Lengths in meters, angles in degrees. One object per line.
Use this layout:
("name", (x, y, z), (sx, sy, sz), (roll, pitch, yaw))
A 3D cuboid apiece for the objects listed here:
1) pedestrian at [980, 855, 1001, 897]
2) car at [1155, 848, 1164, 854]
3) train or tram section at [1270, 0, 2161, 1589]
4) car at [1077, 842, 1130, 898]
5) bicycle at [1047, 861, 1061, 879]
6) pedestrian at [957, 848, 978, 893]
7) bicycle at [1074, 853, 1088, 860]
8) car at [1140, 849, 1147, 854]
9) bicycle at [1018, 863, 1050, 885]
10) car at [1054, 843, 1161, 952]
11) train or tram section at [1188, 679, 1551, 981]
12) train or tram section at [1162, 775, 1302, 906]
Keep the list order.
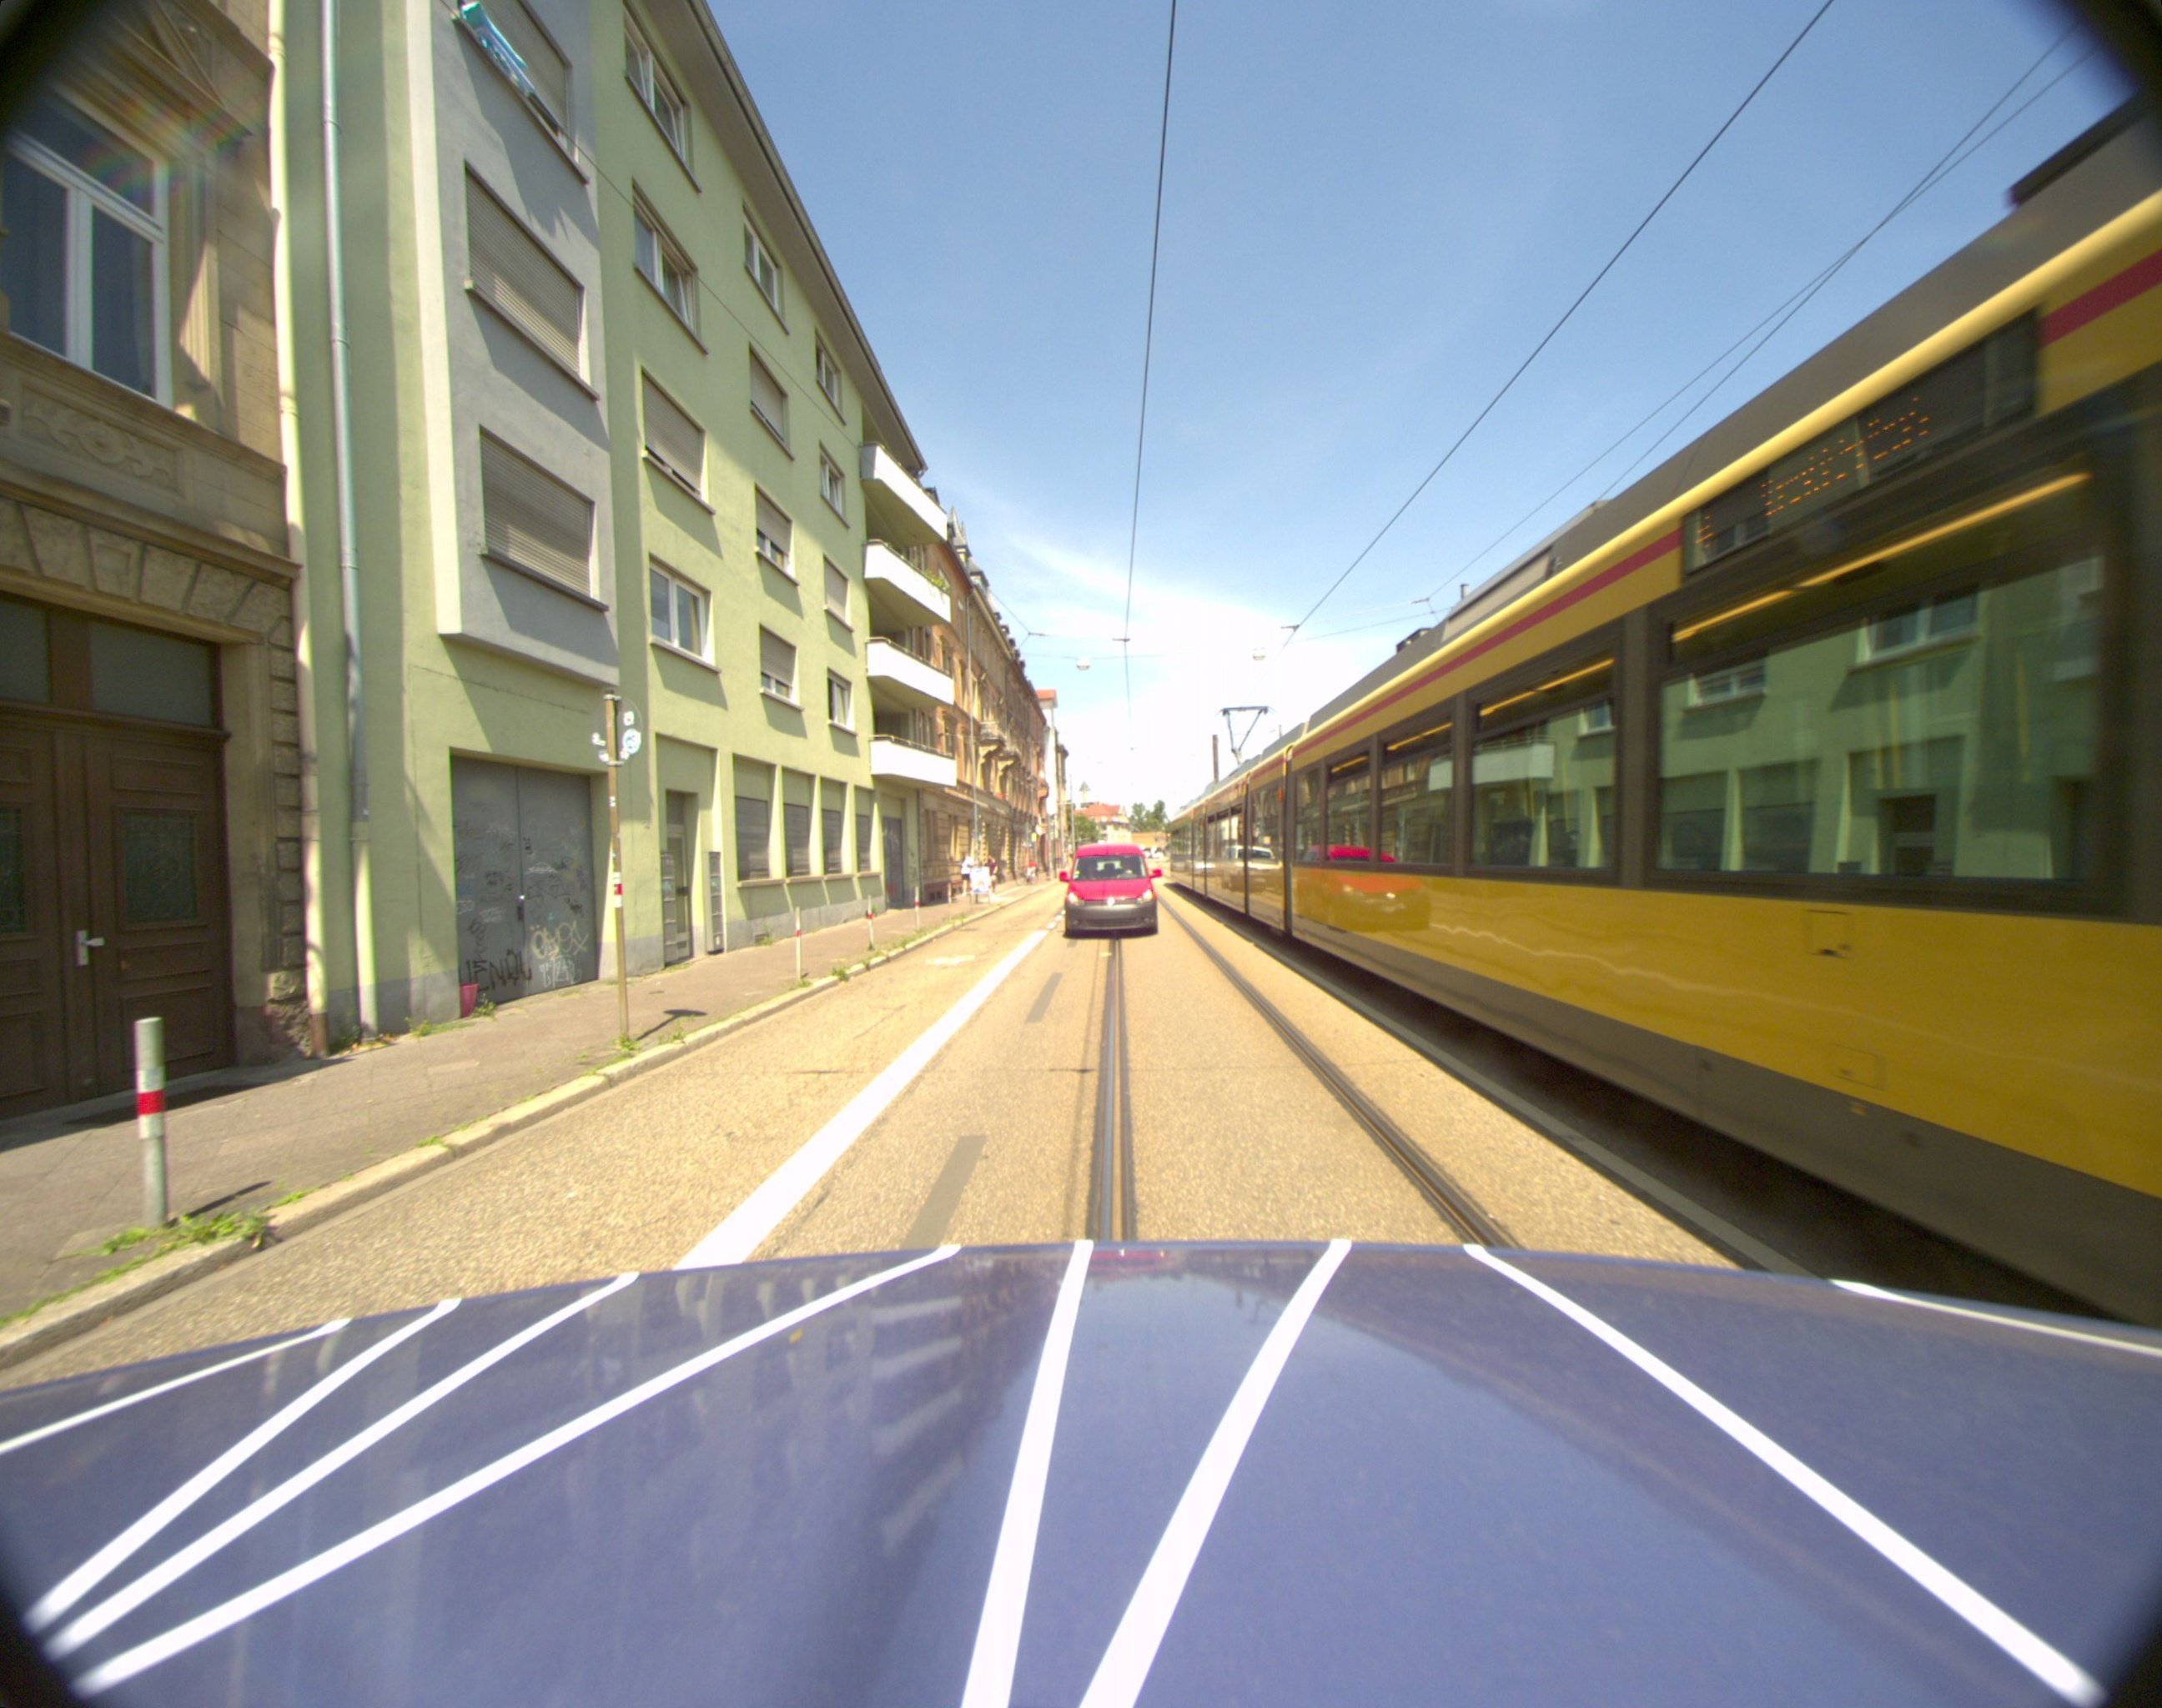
("pedestrian", (-3.779, 0.912, 31.728), (0.722, 1.710, 0.644), (-2, 1, 4))
("car", (20.473, -0.696, 198.013), (1.998, 1.521, 5.132), (0, 1, 3))
("train or tram section", (3.920, -0.210, 3.950), (2.967, 3.559, 13.424), (-2, 0, 3))
("car", (0.874, 0.582, 29.711), (1.874, 1.954, 3.823), (-2, 0, 1))
("bicycle", (-1.725, 1.044, 49.659), (0.448, 1.090, 2.424), (-1, 0, 8))
("pedestrian", (-4.744, 0.685, 31.845), (0.704, 1.838, 0.644), (2, 1, 4))
("bicycle", (0.056, 0.427, 131.075), (2.225, 1.243, 1.096), (-2, 0, -41))
("car", (17.134, -0.713, 207.462), (1.674, 1.453, 3.904), (-1, 0, 3))
("bicycle", (-2.562, 1.068, 41.904), (0.499, 1.124, 2.247), (-1, 1, 32))
("car", (0.620, 0.739, 15.007), (1.755, 1.802, 4.098), (-2, 0, 5))
("train or tram section", (4.442, -0.304, 15.963), (2.967, 3.559, 13.424), (-2, 0, 3))
("train or tram section", (4.965, -0.405, 28.140), (2.967, 3.559, 13.424), (-2, 0, 3))
